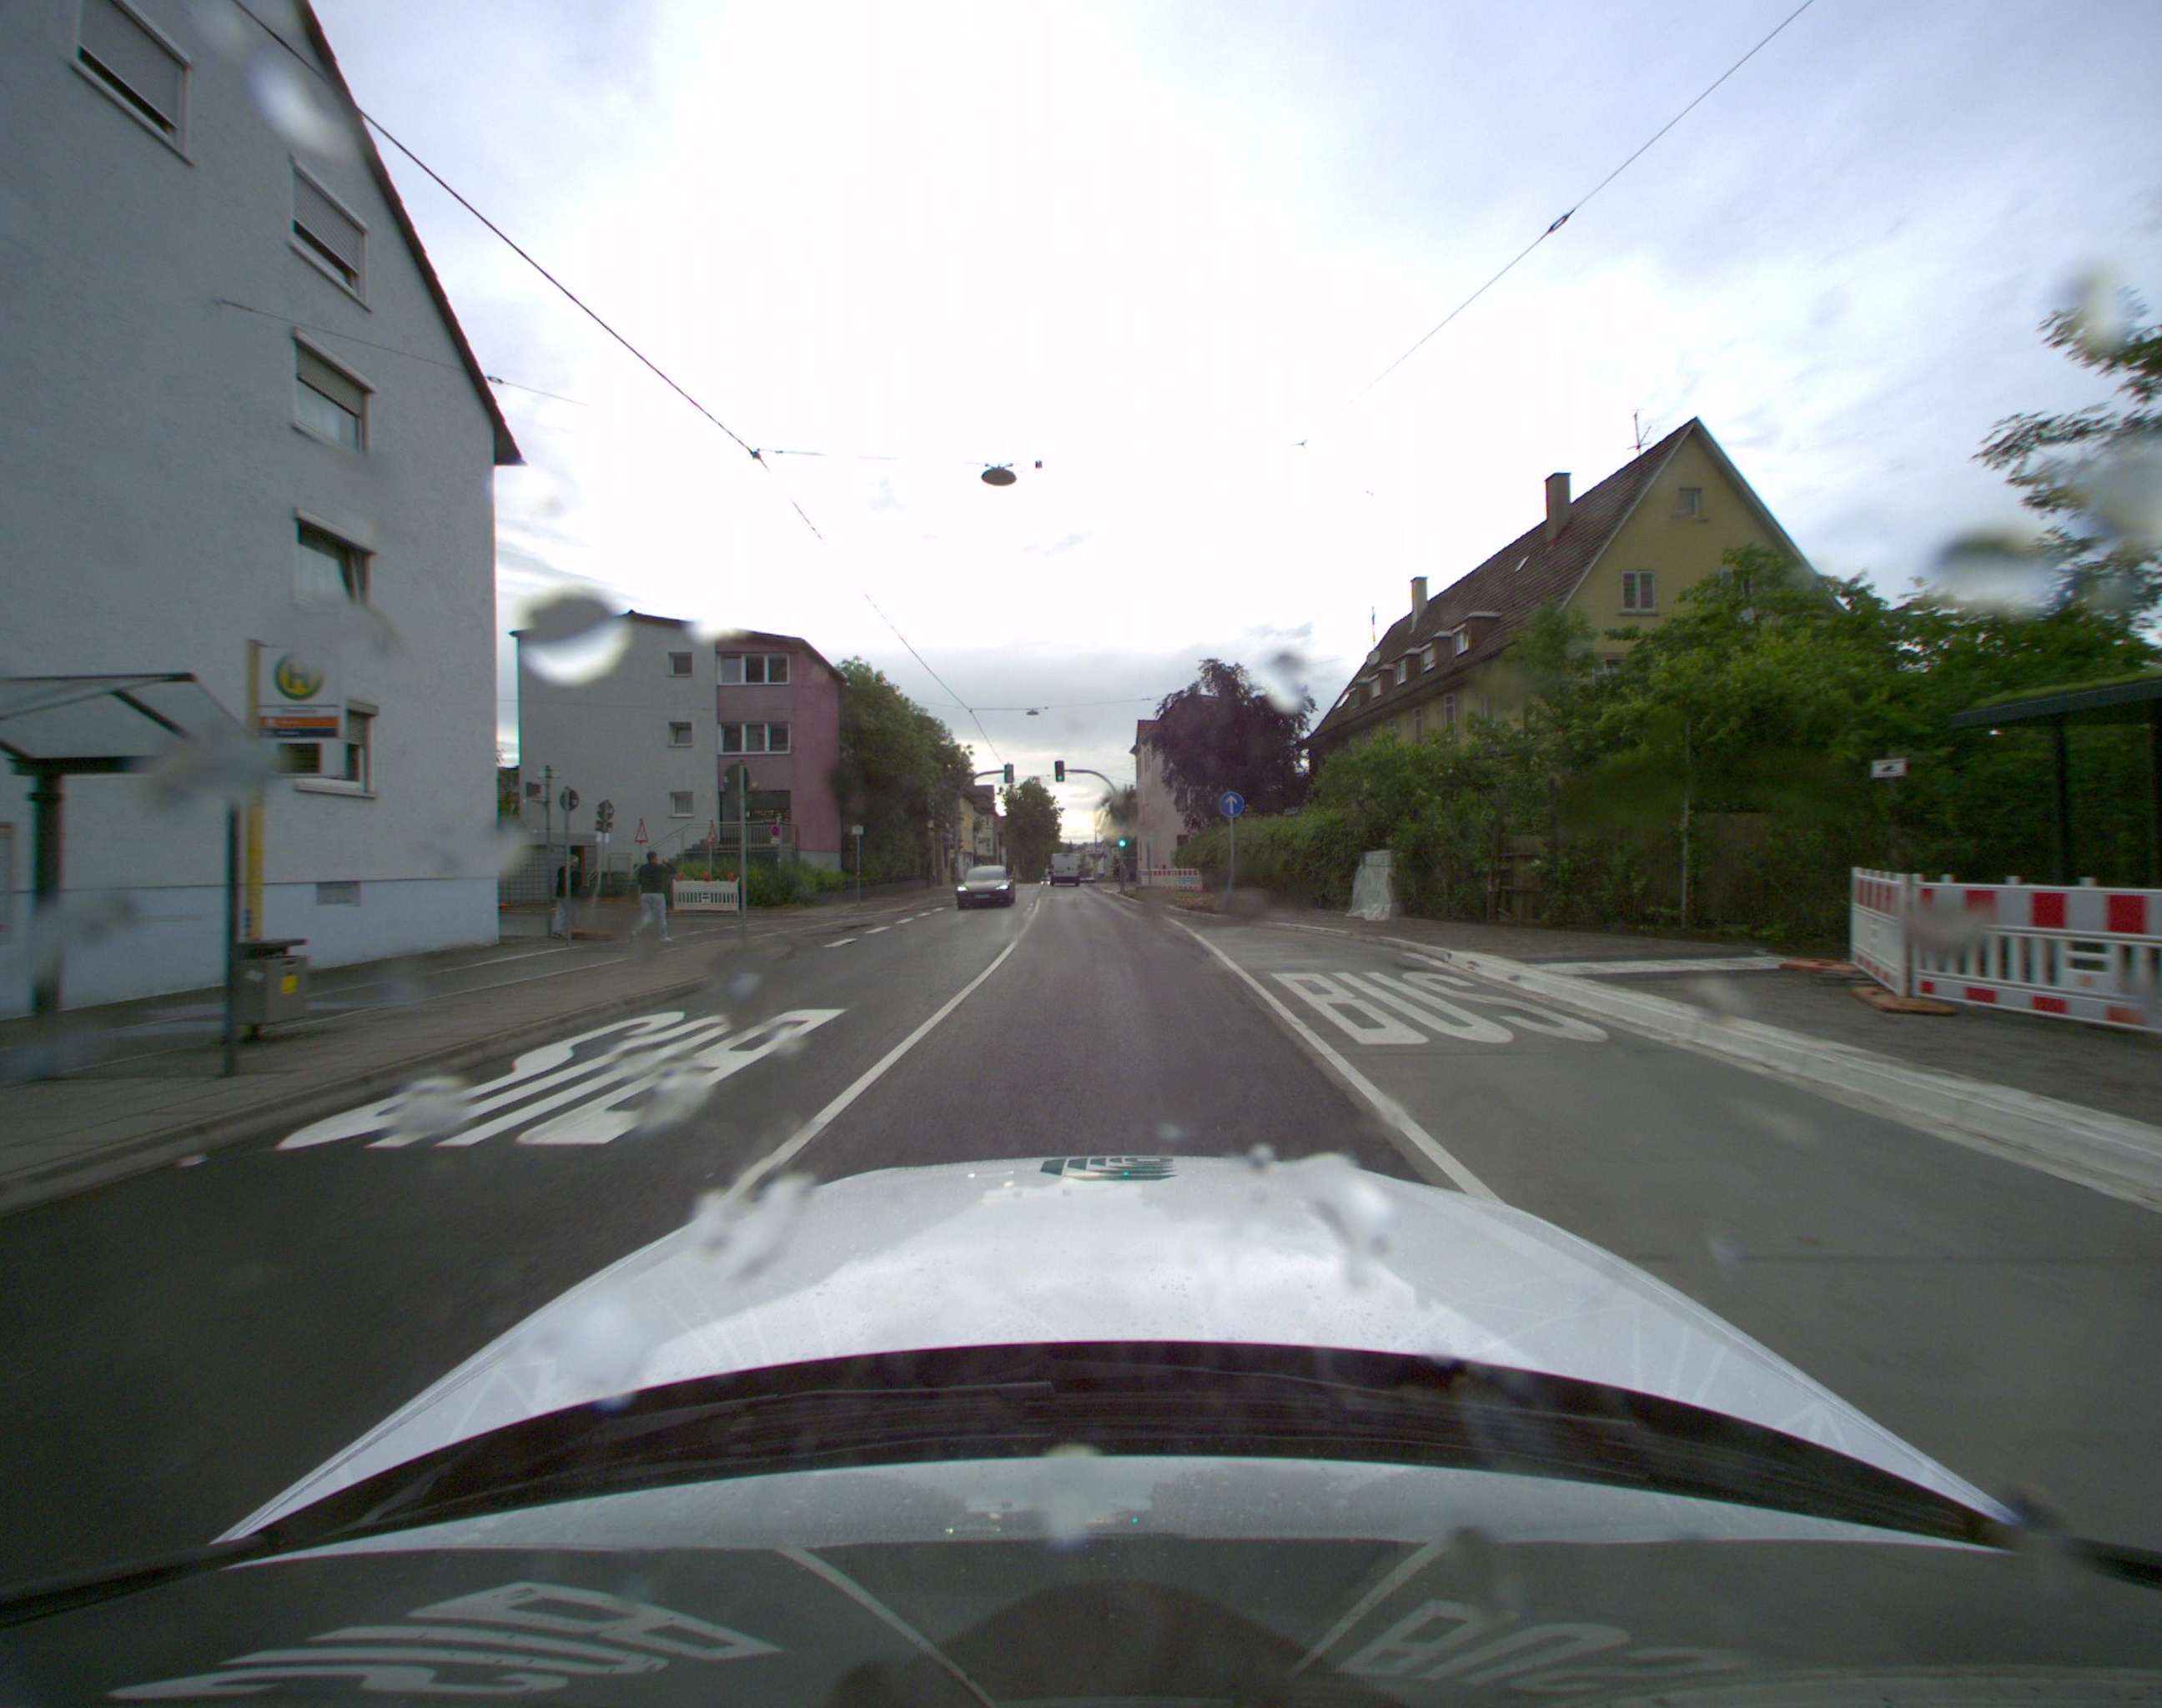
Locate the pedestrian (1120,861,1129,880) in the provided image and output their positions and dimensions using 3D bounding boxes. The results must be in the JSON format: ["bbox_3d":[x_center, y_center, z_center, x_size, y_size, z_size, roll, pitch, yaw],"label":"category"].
[{"bbox_3d":[4.053,1.533,75.725,0.660,1.741,0.827,-2,-2,-7],"label":"pedestrian"}]

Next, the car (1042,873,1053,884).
[{"bbox_3d":[-5.893,4.410,144.009,1.877,1.870,4.449,-2,-2,-2],"label":"car"}]

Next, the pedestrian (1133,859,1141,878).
[{"bbox_3d":[5.591,1.440,81.663,0.642,1.831,0.744,-3,-2,12],"label":"pedestrian"}]

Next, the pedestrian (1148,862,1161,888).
[{"bbox_3d":[4.698,1.354,51.975,0.781,1.642,1.222,0,-2,2],"label":"pedestrian"}]

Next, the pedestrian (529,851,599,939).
[{"bbox_3d":[-11.106,0.860,17.527,0.804,1.821,1.115,0,0,-3],"label":"pedestrian"}]

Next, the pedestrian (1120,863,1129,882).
[{"bbox_3d":[3.870,1.642,72.640,0.442,1.708,0.560,-5,-2,25],"label":"pedestrian"}]

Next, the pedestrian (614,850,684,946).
[{"bbox_3d":[-8.815,0.864,16.671,0.860,1.882,1.042,-2,0,-4],"label":"pedestrian"}]

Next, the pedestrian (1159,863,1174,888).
[{"bbox_3d":[5.306,1.347,50.612,0.871,1.561,1.050,0,-2,3],"label":"pedestrian"}]

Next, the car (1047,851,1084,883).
[{"bbox_3d":[-1.168,0.921,58.127,2.342,2.160,4.770,-1,-1,-4],"label":"car"}]

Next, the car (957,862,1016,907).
[{"bbox_3d":[-3.359,1.056,29.662,1.779,1.452,4.386,-1,0,-2],"label":"car"}]

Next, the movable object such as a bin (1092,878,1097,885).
[{"bbox_3d":[2.320,4.549,136.506,0.693,1.082,0.778,-4,-3,-2],"label":"movable object such as a bin"}]

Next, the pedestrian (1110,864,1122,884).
[{"bbox_3d":[3.035,1.756,71.441,0.639,1.710,0.741,-3,-2,-36],"label":"pedestrian"}]

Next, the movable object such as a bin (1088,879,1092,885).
[{"bbox_3d":[1.546,4.648,136.307,0.617,0.936,0.685,-4,-3,-2],"label":"movable object such as a bin"}]

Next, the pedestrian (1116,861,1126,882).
[{"bbox_3d":[3.535,1.549,71.970,0.482,1.875,0.636,-5,-2,30],"label":"pedestrian"}]
